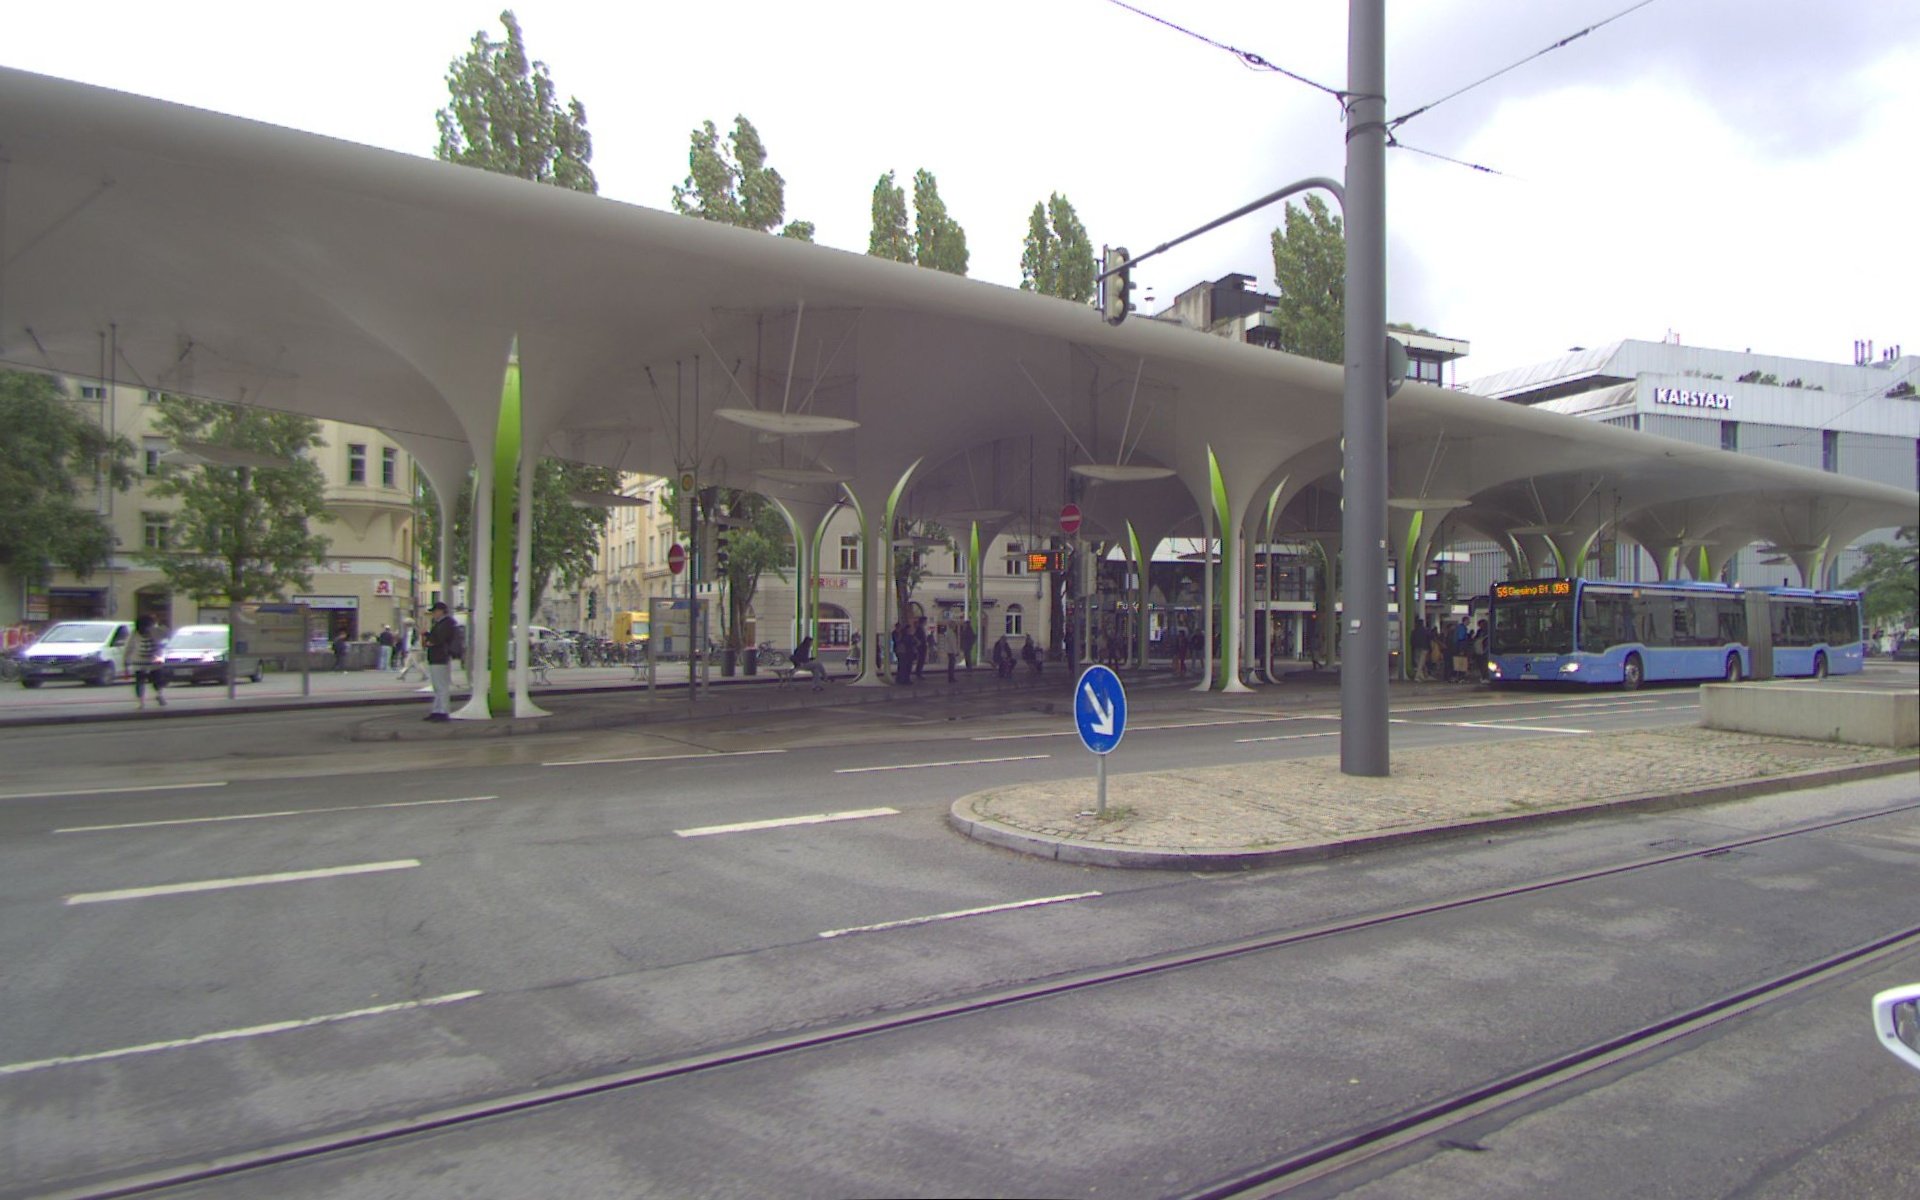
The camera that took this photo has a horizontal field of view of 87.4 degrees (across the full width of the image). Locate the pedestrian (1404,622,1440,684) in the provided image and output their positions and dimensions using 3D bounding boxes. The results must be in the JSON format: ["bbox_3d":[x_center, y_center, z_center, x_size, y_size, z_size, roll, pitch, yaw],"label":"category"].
[{"bbox_3d":[13.448,1.527,29.243,0.876,1.744,0.706,1,-2,-44],"label":"pedestrian"}]

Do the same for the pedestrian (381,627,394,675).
[{"bbox_3d":[-24.980,2.206,43.836,0.452,2.040,0.577,1,1,-32],"label":"pedestrian"}]

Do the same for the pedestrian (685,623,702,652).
[{"bbox_3d":[-16.479,2.314,62.131,0.791,1.807,0.951,1,-1,-31],"label":"pedestrian"}]

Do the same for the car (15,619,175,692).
[{"bbox_3d":[-25.471,1.592,29.824,1.841,1.973,4.911,1,-2,-19],"label":"car"}]

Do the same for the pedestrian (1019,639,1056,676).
[{"bbox_3d":[2.578,1.930,33.624,0.867,1.170,0.908,1,1,-29],"label":"pedestrian"}]

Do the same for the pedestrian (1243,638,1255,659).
[{"bbox_3d":[18.596,3.133,64.651,0.567,1.351,0.512,1,-1,-11],"label":"pedestrian"}]

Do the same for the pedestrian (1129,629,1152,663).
[{"bbox_3d":[9.621,2.429,53.578,0.981,1.796,0.931,1,-1,-10],"label":"pedestrian"}]

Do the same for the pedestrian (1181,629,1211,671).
[{"bbox_3d":[9.909,2.084,42.188,0.883,1.753,0.868,1,-2,-24],"label":"pedestrian"}]

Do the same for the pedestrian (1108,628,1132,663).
[{"bbox_3d":[8.485,2.404,53.319,0.981,1.796,0.931,1,-1,-10],"label":"pedestrian"}]

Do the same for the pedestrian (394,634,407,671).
[{"bbox_3d":[-25.055,2.342,44.981,0.453,1.612,0.519,1,1,-32],"label":"pedestrian"}]

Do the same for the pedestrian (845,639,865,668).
[{"bbox_3d":[-4.092,2.087,39.135,0.573,1.098,0.513,1,-1,-37],"label":"pedestrian"}]

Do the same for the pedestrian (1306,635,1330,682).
[{"bbox_3d":[15.899,2.584,44.592,0.888,2.040,0.673,0,-1,9],"label":"pedestrian"}]

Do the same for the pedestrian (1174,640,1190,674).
[{"bbox_3d":[8.657,2.220,39.172,0.563,1.282,0.520,0,-1,8],"label":"pedestrian"}]

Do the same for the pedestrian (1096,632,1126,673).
[{"bbox_3d":[5.760,2.005,38.437,0.888,1.528,0.738,1,-2,-37],"label":"pedestrian"}]

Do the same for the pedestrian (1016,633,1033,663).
[{"bbox_3d":[3.730,2.758,57.921,0.742,1.699,0.790,1,-2,-20],"label":"pedestrian"}]

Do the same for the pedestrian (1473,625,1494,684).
[{"bbox_3d":[14.584,1.504,27.971,0.387,1.626,0.390,1,-1,-35],"label":"pedestrian"}]

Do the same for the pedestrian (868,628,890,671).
[{"bbox_3d":[-3.193,1.935,39.494,0.635,1.669,0.596,1,-2,-37],"label":"pedestrian"}]

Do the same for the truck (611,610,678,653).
[{"bbox_3d":[-19.718,1.946,62.471,2.412,2.546,7.126,1,-2,-30],"label":"truck"}]

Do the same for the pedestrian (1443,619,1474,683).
[{"bbox_3d":[13.964,1.421,28.132,0.751,1.766,0.559,1,-2,-44],"label":"pedestrian"}]

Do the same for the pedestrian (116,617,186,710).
[{"bbox_3d":[-14.698,1.132,18.247,0.736,1.631,0.836,-1,-2,39],"label":"pedestrian"}]

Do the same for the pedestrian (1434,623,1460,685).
[{"bbox_3d":[14.048,1.555,28.977,0.568,1.756,0.500,1,-2,-41],"label":"pedestrian"}]

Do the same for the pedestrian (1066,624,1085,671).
[{"bbox_3d":[4.280,1.771,37.271,0.635,1.719,0.700,0,-1,11],"label":"pedestrian"}]

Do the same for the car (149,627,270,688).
[{"bbox_3d":[-21.935,1.631,29.530,1.804,1.637,3.981,1,-2,-21],"label":"car"}]

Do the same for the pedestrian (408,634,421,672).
[{"bbox_3d":[-24.513,2.369,45.131,0.452,1.647,0.577,1,1,-32],"label":"pedestrian"}]

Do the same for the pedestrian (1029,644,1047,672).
[{"bbox_3d":[2.810,2.081,36.328,0.450,1.002,0.513,0,-1,34],"label":"pedestrian"}]

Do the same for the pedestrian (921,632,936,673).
[{"bbox_3d":[-1.699,2.829,54.239,0.716,2.201,0.556,1,-1,-19],"label":"pedestrian"}]

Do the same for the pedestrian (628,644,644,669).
[{"bbox_3d":[-15.384,2.669,47.712,0.606,1.097,1.835,1,-1,-16],"label":"pedestrian"}]

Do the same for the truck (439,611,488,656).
[{"bbox_3d":[-30.491,2.055,61.838,2.259,2.658,5.324,1,-2,-22],"label":"truck"}]

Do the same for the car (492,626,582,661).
[{"bbox_3d":[-24.517,2.493,58.257,4.740,1.945,1.987,1,-2,-26],"label":"car"}]

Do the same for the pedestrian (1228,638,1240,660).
[{"bbox_3d":[17.434,3.110,63.855,0.567,1.351,0.512,1,-1,-11],"label":"pedestrian"}]

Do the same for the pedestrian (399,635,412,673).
[{"bbox_3d":[-24.445,2.376,44.252,0.452,1.647,0.577,1,1,-32],"label":"pedestrian"}]
